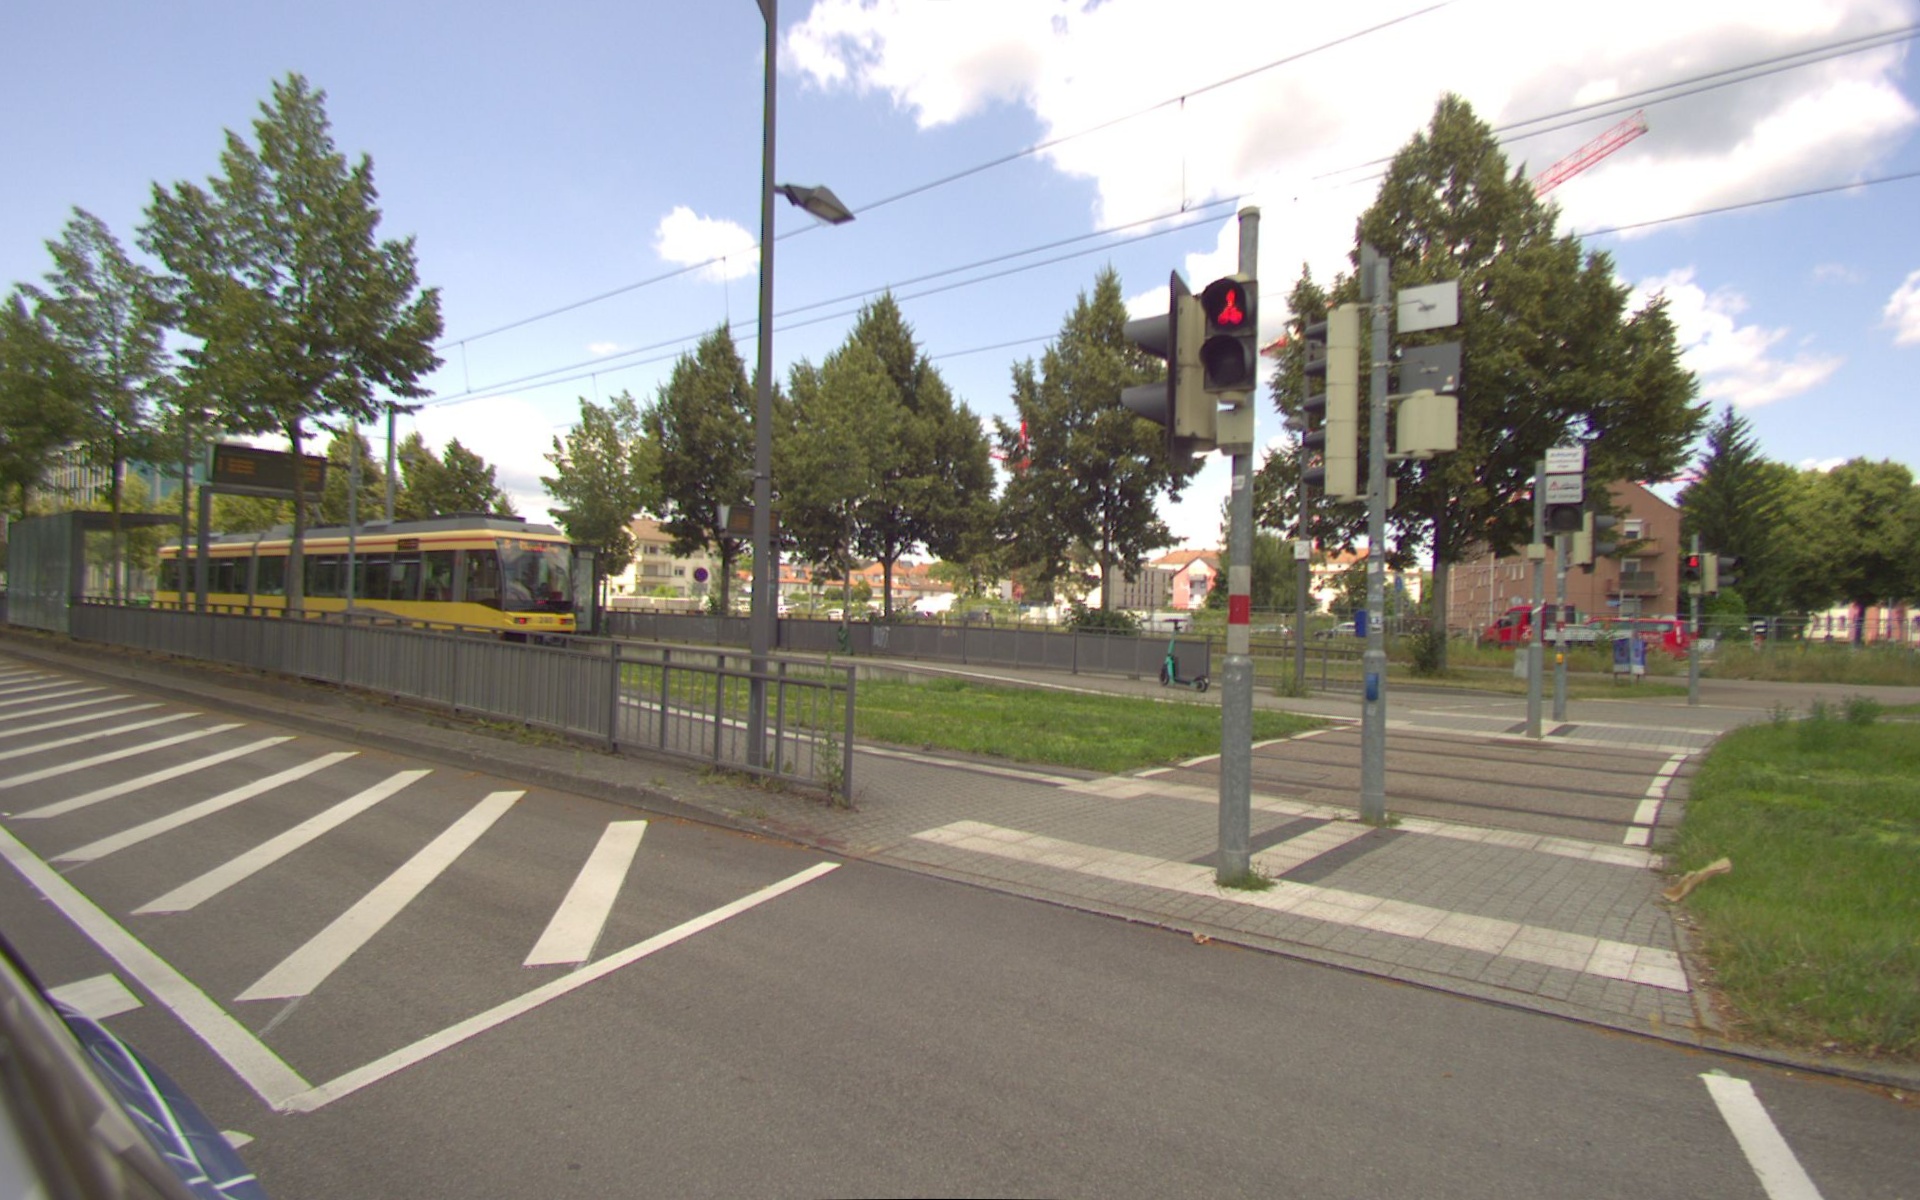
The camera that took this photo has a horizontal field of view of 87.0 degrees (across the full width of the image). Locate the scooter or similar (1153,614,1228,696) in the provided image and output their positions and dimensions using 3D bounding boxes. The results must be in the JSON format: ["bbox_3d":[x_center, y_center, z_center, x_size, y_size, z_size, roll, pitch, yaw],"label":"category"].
[{"bbox_3d":[4.035,0.946,17.778,0.412,1.311,1.350,1,2,-31],"label":"scooter or similar"}]

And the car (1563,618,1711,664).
[{"bbox_3d":[30.613,1.807,45.934,2.052,1.866,5.199,2,-1,-32],"label":"car"}]

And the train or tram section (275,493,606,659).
[{"bbox_3d":[-14.983,-0.541,28.222,13.459,3.768,2.815,0,-1,38],"label":"train or tram section"}]

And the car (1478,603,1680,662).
[{"bbox_3d":[25.188,1.266,41.590,2.353,2.214,6.860,1,-1,-28],"label":"car"}]

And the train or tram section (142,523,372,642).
[{"bbox_3d":[-25.919,-0.554,36.744,14.645,3.666,2.661,0,-1,38],"label":"train or tram section"}]
